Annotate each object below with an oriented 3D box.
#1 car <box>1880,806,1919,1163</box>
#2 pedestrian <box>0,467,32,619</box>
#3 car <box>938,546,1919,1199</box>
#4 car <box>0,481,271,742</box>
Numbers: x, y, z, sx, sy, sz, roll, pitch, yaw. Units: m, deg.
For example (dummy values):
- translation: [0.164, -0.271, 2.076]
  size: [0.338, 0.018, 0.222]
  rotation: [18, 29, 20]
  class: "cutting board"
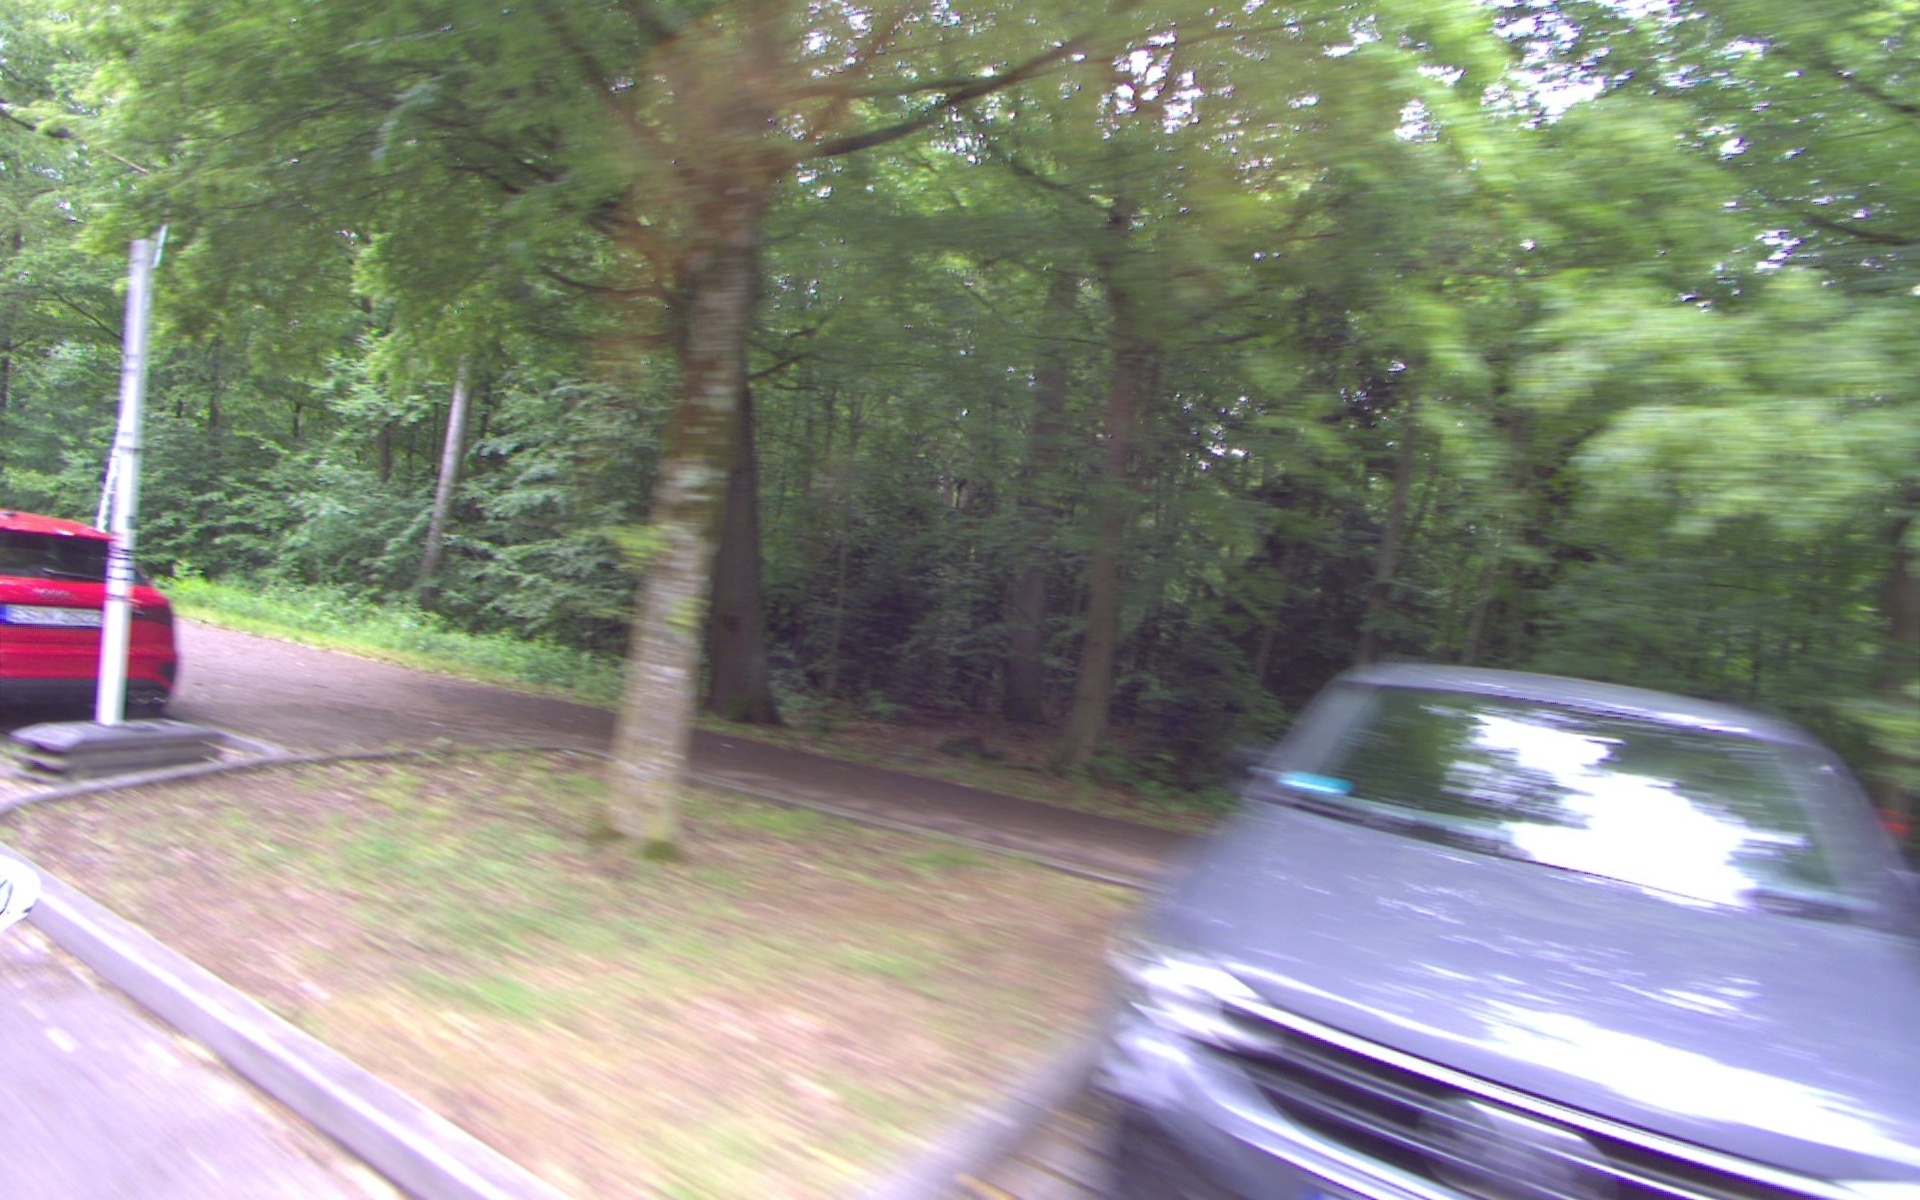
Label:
- translation: [3.945, 1.328, 1.974]
  size: [1.941, 1.569, 4.000]
  rotation: [7, -2, 26]
  class: "car"
- translation: [-11.675, -0.734, 11.723]
  size: [0.986, 1.745, 0.819]
  rotation: [7, -2, 29]
  class: "pedestrian"
- translation: [1.927, 1.049, 3.501]
  size: [1.925, 1.685, 4.275]
  rotation: [7, -2, 31]
  class: "car"
- translation: [-7.459, -0.153, 7.300]
  size: [4.887, 1.496, 1.999]
  rotation: [7, -2, 30]
  class: "car"
